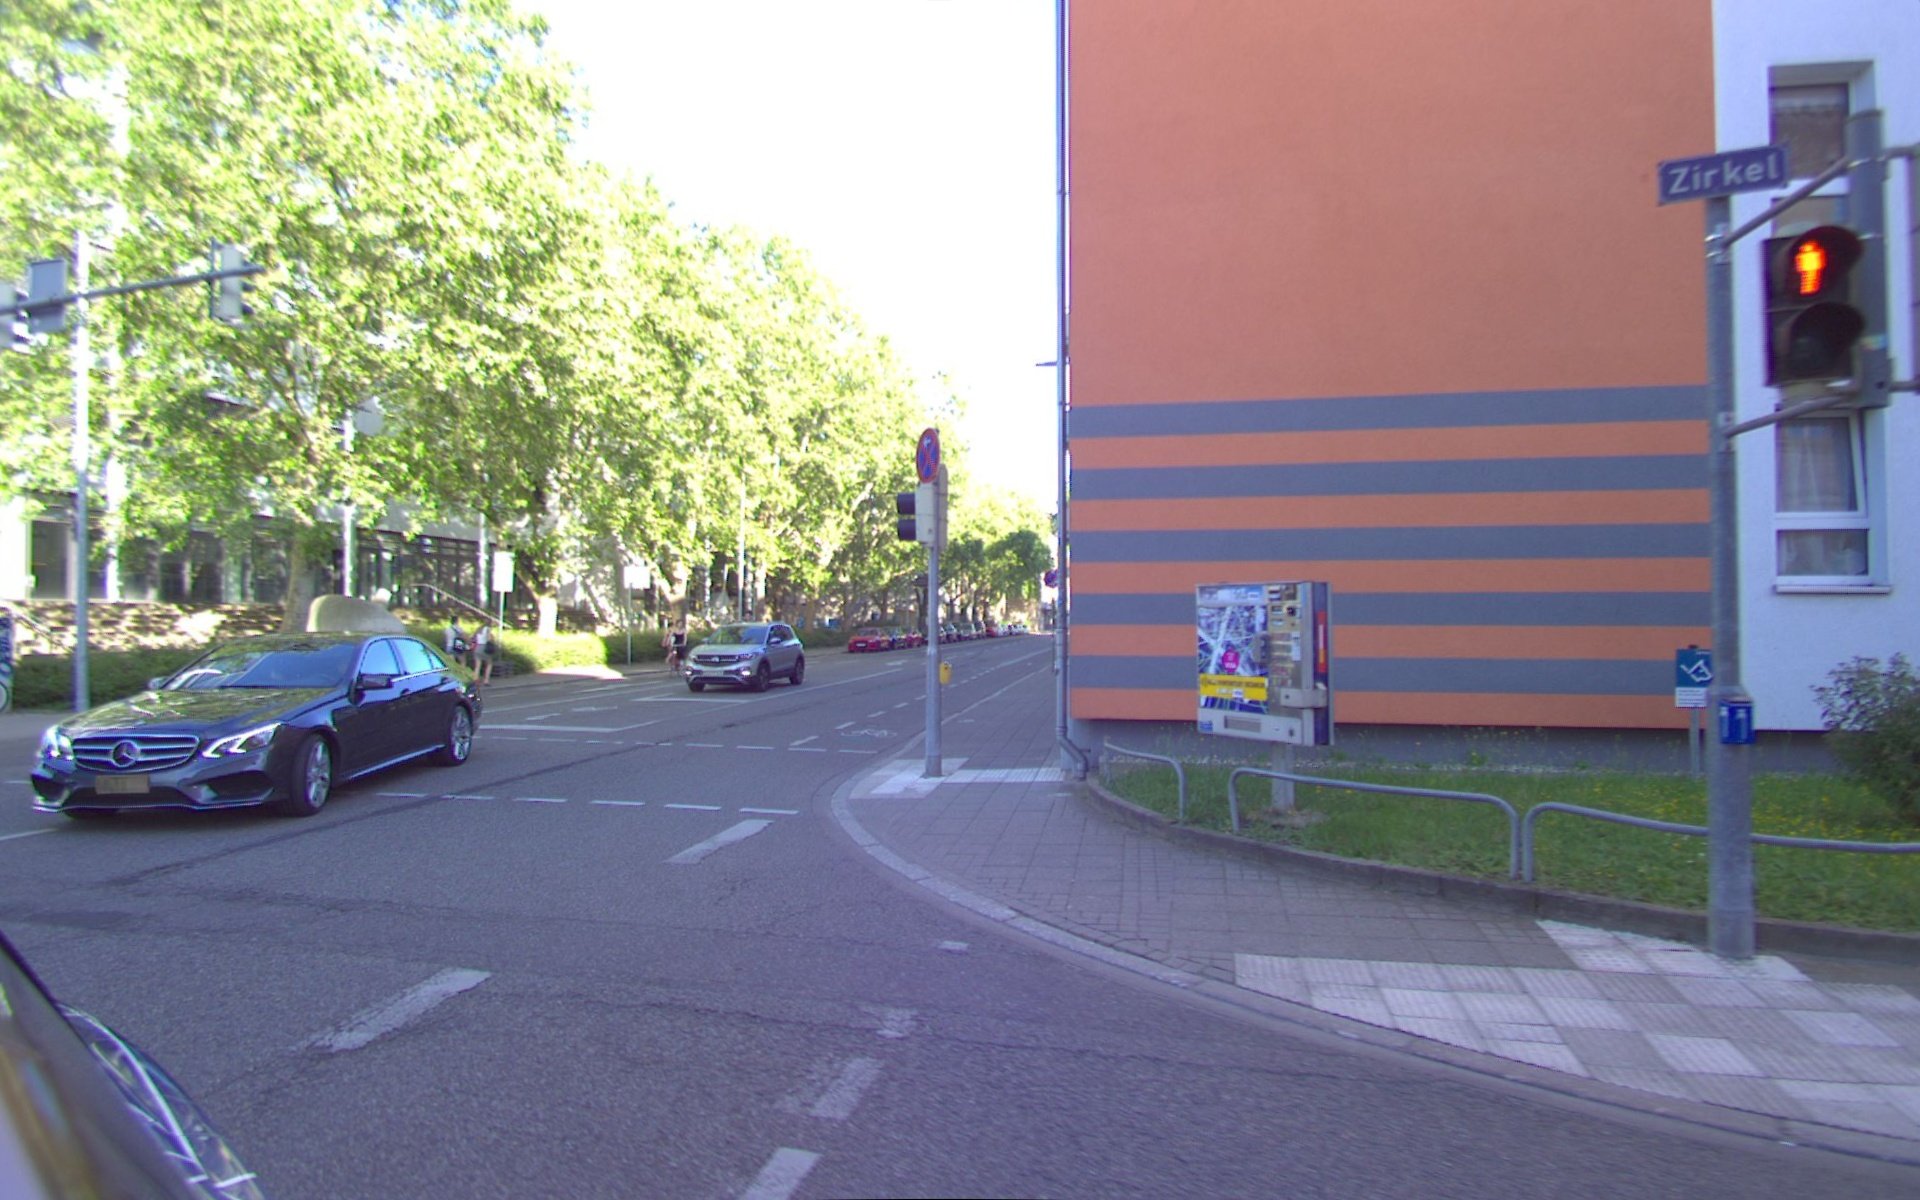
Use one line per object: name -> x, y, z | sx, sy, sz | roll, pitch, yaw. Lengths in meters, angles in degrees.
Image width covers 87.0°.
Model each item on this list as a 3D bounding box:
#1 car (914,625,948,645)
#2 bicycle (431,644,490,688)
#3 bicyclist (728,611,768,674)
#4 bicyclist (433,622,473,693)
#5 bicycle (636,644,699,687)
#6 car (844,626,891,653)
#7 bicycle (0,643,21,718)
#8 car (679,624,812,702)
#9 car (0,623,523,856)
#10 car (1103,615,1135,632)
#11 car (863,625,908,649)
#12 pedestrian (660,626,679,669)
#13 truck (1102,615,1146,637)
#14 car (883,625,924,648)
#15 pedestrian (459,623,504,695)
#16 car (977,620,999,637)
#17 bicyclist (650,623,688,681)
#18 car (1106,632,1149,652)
car -> -2.200, 2.634, 77.392 | 1.879, 1.462, 4.064 | -1, -1, 10
bicycle -> -12.723, 1.669, 25.818 | 0.516, 1.042, 1.643 | -1, -1, 8
bicyclist -> -6.112, 1.217, 29.254 | 0.762, 1.745, 0.899 | 4, 0, 8
bicyclist -> -12.718, 1.425, 25.398 | 0.627, 1.726, 0.653 | 0, 1, 8
bicycle -> -8.686, 1.920, 30.203 | 0.761, 1.144, 2.809 | -2, -1, 7
car -> -5.272, 2.229, 58.085 | 1.877, 1.454, 4.067 | -1, -1, 8
bicycle -> -16.374, 1.306, 16.173 | 1.959, 1.191, 0.472 | 0, -1, -20
car -> -4.902, 1.400, 23.672 | 1.729, 1.616, 3.988 | -1, -1, 9
car -> -5.996, 1.023, 9.421 | 1.775, 1.479, 4.718 | 1, 0, 1
car -> 19.860, 2.918, 126.631 | 3.953, 2.029, 1.995 | -1, -1, 8
car -> -4.559, 2.276, 62.737 | 1.879, 1.458, 4.064 | -1, -1, 10
pedestrian -> -10.965, 1.785, 38.197 | 0.457, 1.606, 0.681 | -1, -1, 8
truck -> 16.431, 2.634, 101.566 | 4.355, 2.174, 1.873 | -1, -1, 8
car -> -3.770, 2.422, 68.166 | 1.879, 1.462, 4.064 | -1, -1, 10
pedestrian -> -11.911, 1.460, 25.215 | 0.767, 1.732, 0.690 | 0, 1, 8
car -> 3.093, 3.129, 110.101 | 1.879, 1.832, 4.064 | -1, -1, 10
bicyclist -> -8.694, 1.537, 30.242 | 0.762, 1.692, 0.893 | -2, -1, 8
car -> 15.922, 3.978, 96.278 | 3.953, 1.849, 1.826 | -1, -1, 8
